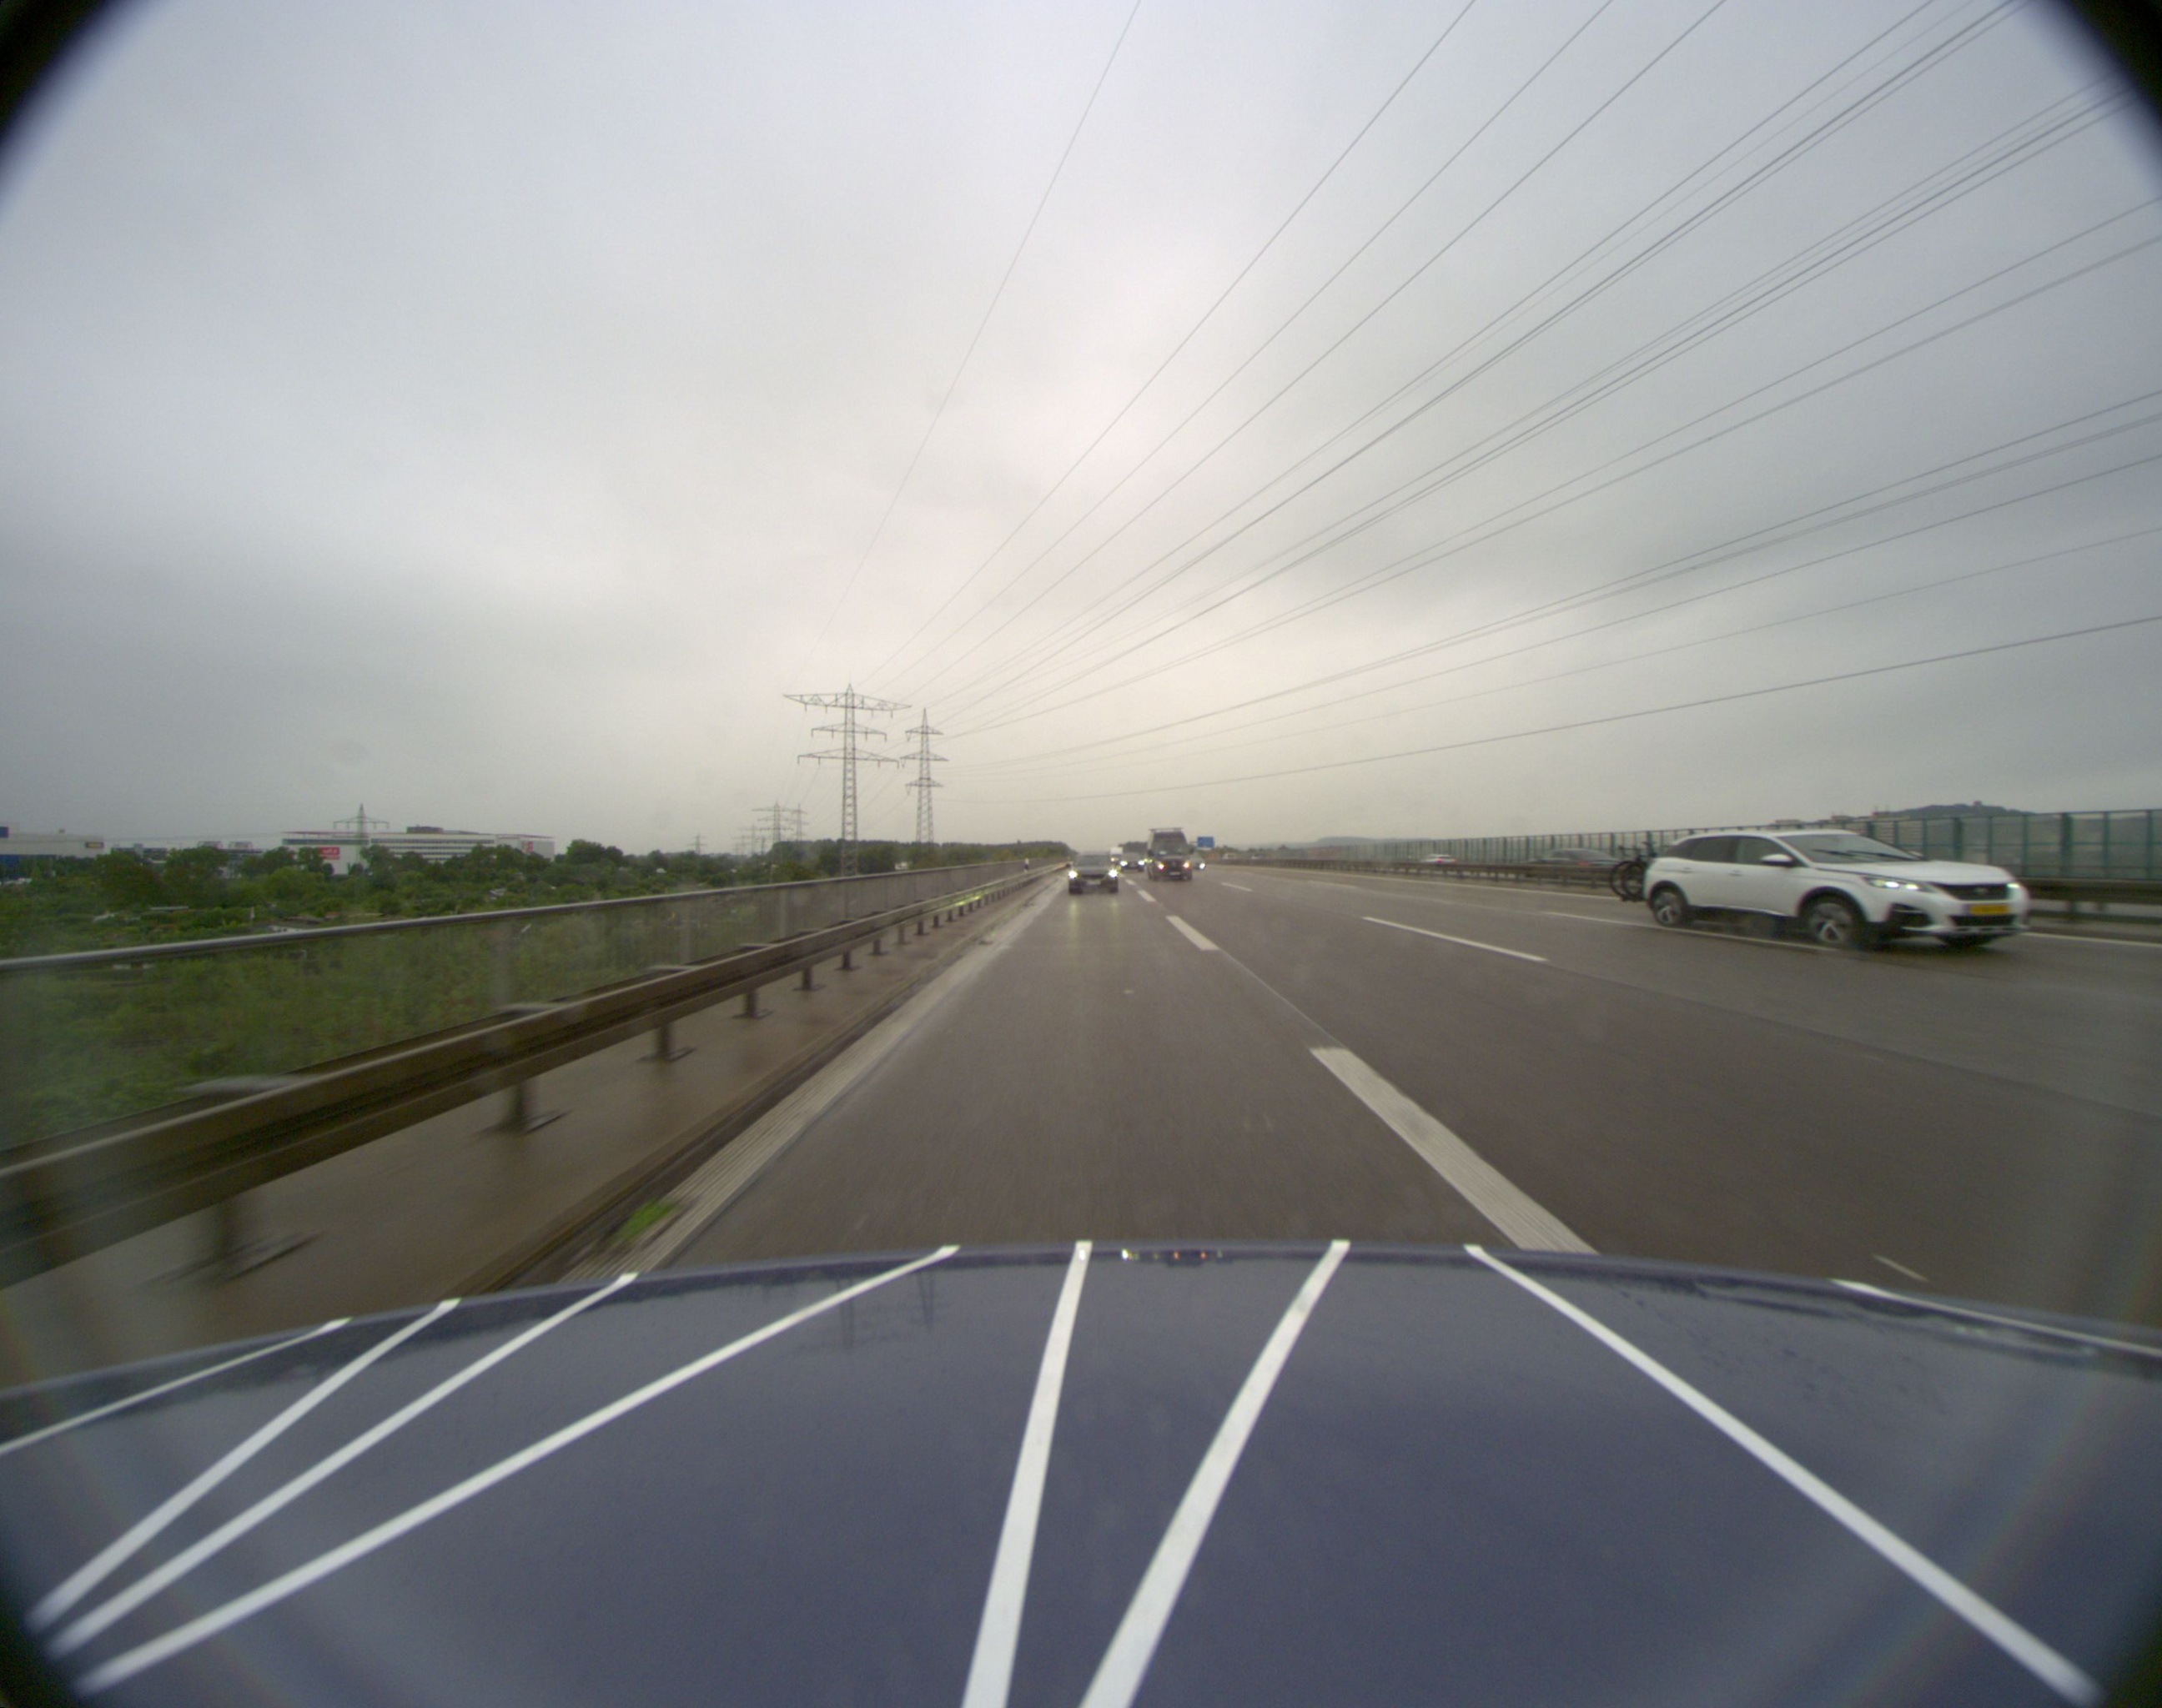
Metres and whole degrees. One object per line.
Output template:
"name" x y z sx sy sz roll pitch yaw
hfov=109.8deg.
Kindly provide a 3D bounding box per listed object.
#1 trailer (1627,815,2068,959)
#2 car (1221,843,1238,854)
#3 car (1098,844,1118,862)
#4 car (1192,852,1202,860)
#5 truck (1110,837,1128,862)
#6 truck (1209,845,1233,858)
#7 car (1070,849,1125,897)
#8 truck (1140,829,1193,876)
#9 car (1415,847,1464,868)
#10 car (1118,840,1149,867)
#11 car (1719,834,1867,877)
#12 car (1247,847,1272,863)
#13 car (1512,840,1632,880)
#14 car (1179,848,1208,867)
"trailer" 10.391 0.352 10.967 1.819 1.615 4.567 -1 1 1
"car" 25.311 -1.026 129.492 1.926 1.734 4.467 -2 1 0
"car" 2.778 -0.102 78.624 1.998 1.706 3.999 1 1 1
"car" 26.372 0.533 172.748 1.629 1.575 3.785 -7 0 1
"truck" 6.675 -0.836 134.921 2.704 4.172 8.923 -2 0 0
"truck" 34.720 -0.745 189.374 3.619 2.819 14.317 -2 2 1
"car" 0.561 0.650 28.387 1.862 1.531 4.202 -2 1 0
"truck" 4.464 -0.183 40.636 1.999 2.325 6.108 -1 2 -1
"car" 31.469 0.281 66.847 1.998 1.655 4.701 -3 0 0
"car" 4.070 -0.066 59.698 1.999 2.002 4.784 -2 1 0
"car" 30.600 -0.007 32.883 1.998 1.655 4.700 -2 2 0
"car" 21.208 0.136 90.443 1.846 1.734 4.467 2 1 0
"car" 19.344 0.170 30.200 1.846 1.422 4.467 2 1 0
"car" 8.711 0.241 59.364 1.729 1.395 4.829 -2 0 2
